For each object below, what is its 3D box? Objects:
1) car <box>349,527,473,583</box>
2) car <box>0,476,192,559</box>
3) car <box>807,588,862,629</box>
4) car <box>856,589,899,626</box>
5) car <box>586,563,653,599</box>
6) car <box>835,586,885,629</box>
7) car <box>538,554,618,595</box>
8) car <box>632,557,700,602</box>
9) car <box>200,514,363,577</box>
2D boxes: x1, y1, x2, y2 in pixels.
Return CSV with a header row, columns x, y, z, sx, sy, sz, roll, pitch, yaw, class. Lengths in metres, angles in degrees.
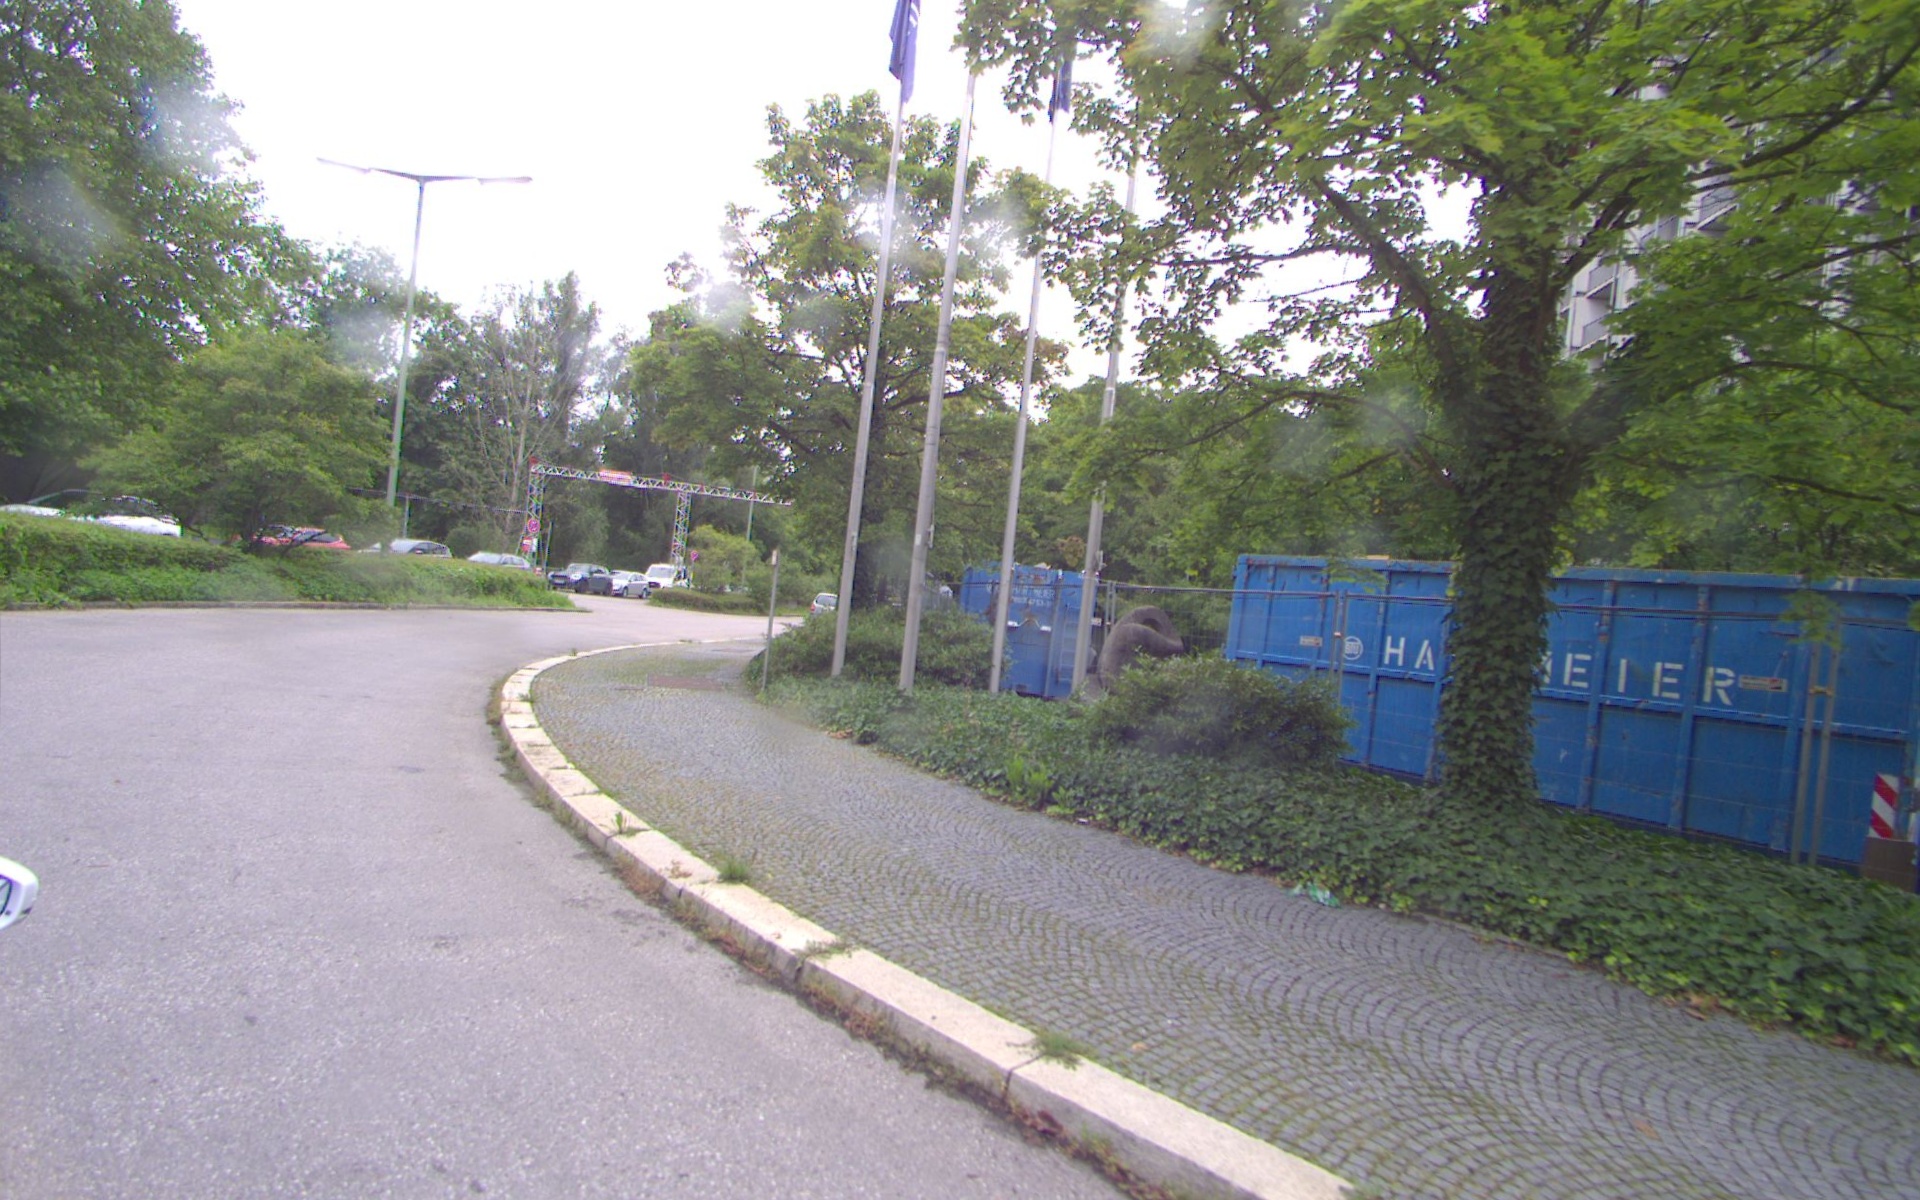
x,y,z,sx,sy,sz,roll,pitch,yaw,class
-20.228,-1.625,37.284,1.962,1.593,4.002,7,0,7,car
-21.775,-2.026,24.986,1.962,1.526,4.002,7,0,7,car
-5.769,0.395,46.767,1.701,1.631,4.001,7,0,3,car
-4.788,0.480,58.988,1.701,1.913,4.329,7,-1,4,car
-18.647,-1.026,55.289,1.962,1.593,4.001,7,0,4,car
-5.138,0.423,52.154,1.701,1.913,4.329,7,-1,4,car
-19.011,-1.229,50.259,1.962,1.593,4.002,7,0,7,car
-17.808,-1.203,61.225,2.164,2.254,4.872,7,0,4,car
-20.971,-1.627,31.311,1.962,1.426,4.002,7,0,7,car
